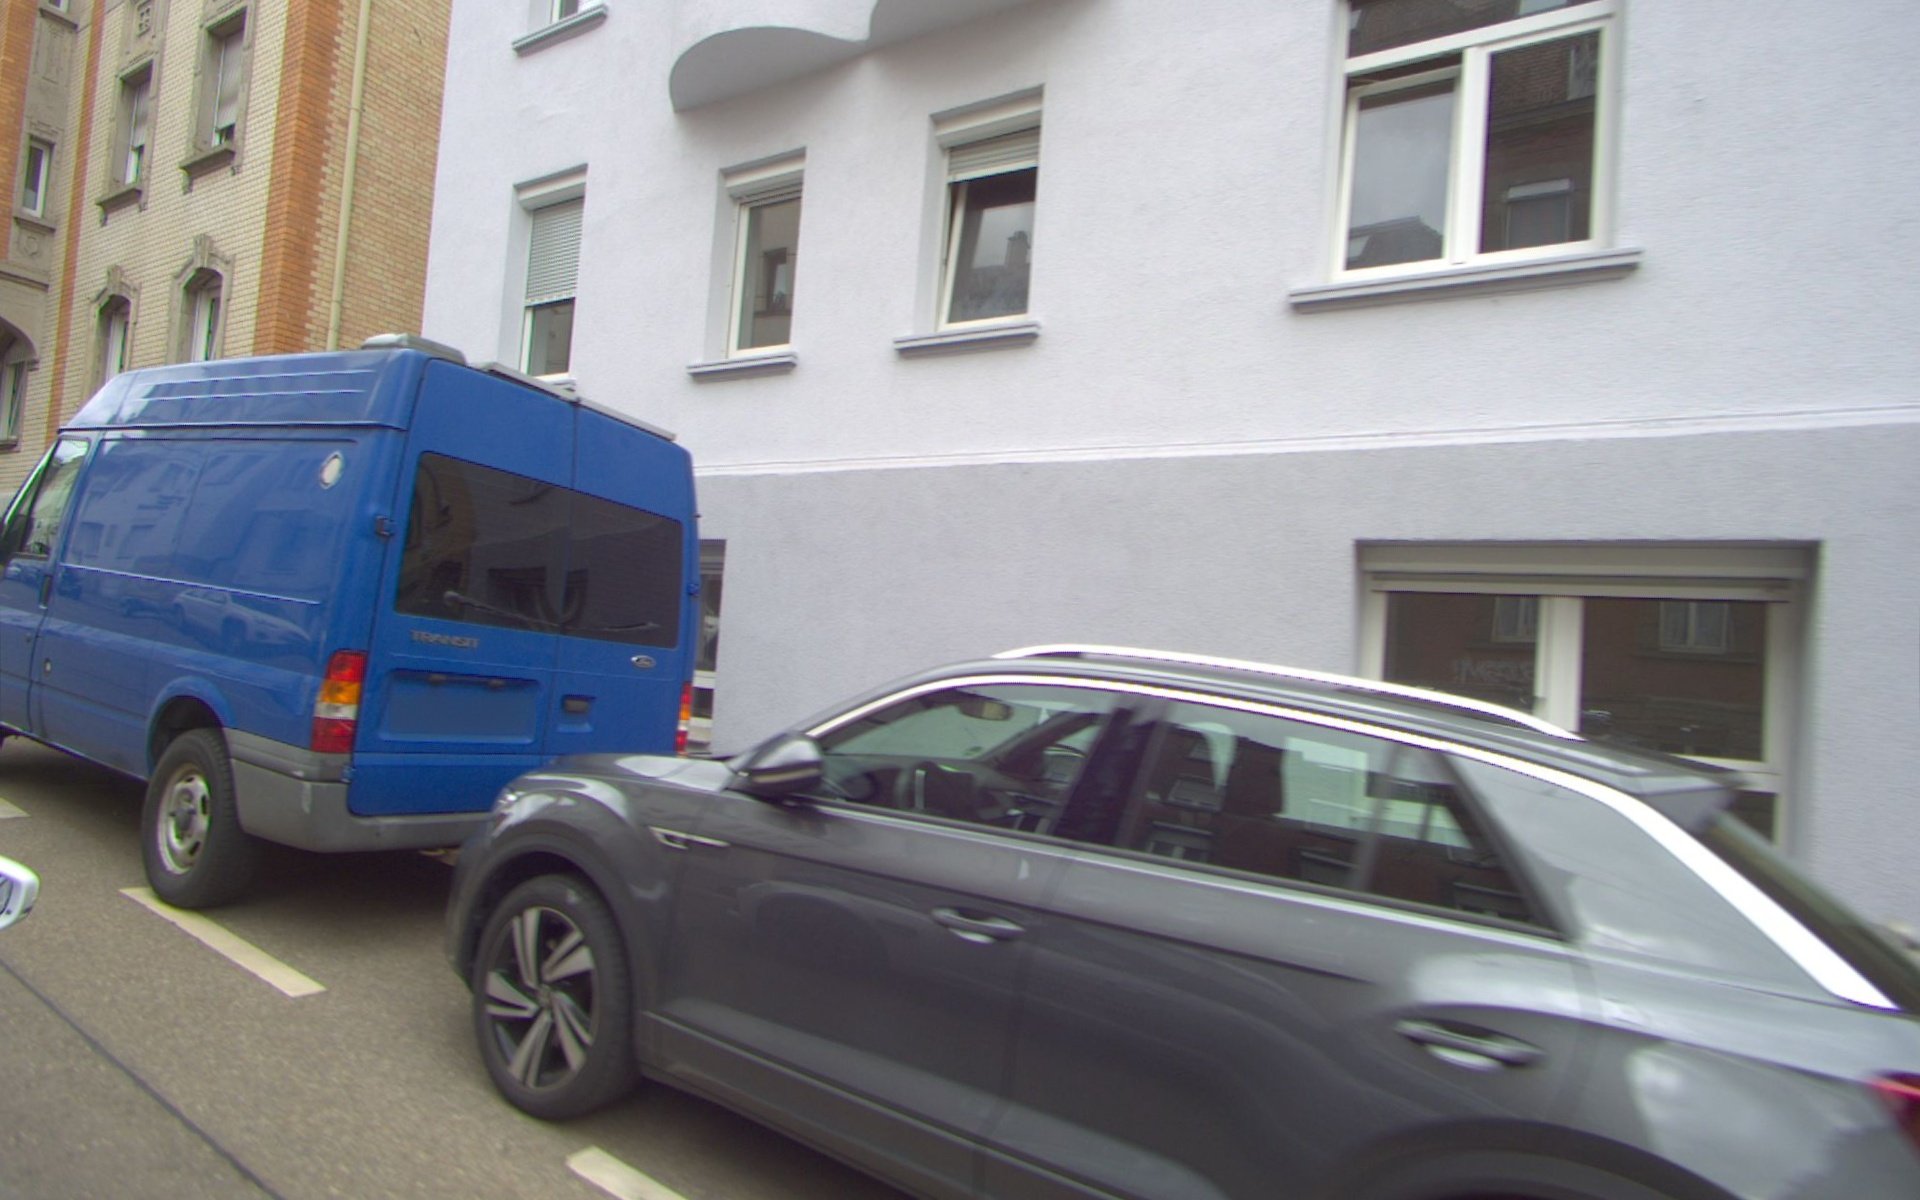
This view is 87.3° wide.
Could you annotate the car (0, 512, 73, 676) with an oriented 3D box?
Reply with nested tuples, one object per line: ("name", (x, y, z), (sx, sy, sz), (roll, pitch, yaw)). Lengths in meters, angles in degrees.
("car", (-11.099, -0.330, 10.188), (4.513, 1.490, 1.785), (6, -4, 32))

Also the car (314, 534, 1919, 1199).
("car", (0.181, 0.872, 3.066), (4.122, 1.546, 1.786), (6, -5, 31))

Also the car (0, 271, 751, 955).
("car", (-3.842, -0.067, 5.673), (4.973, 2.403, 1.998), (6, -2, 32))
